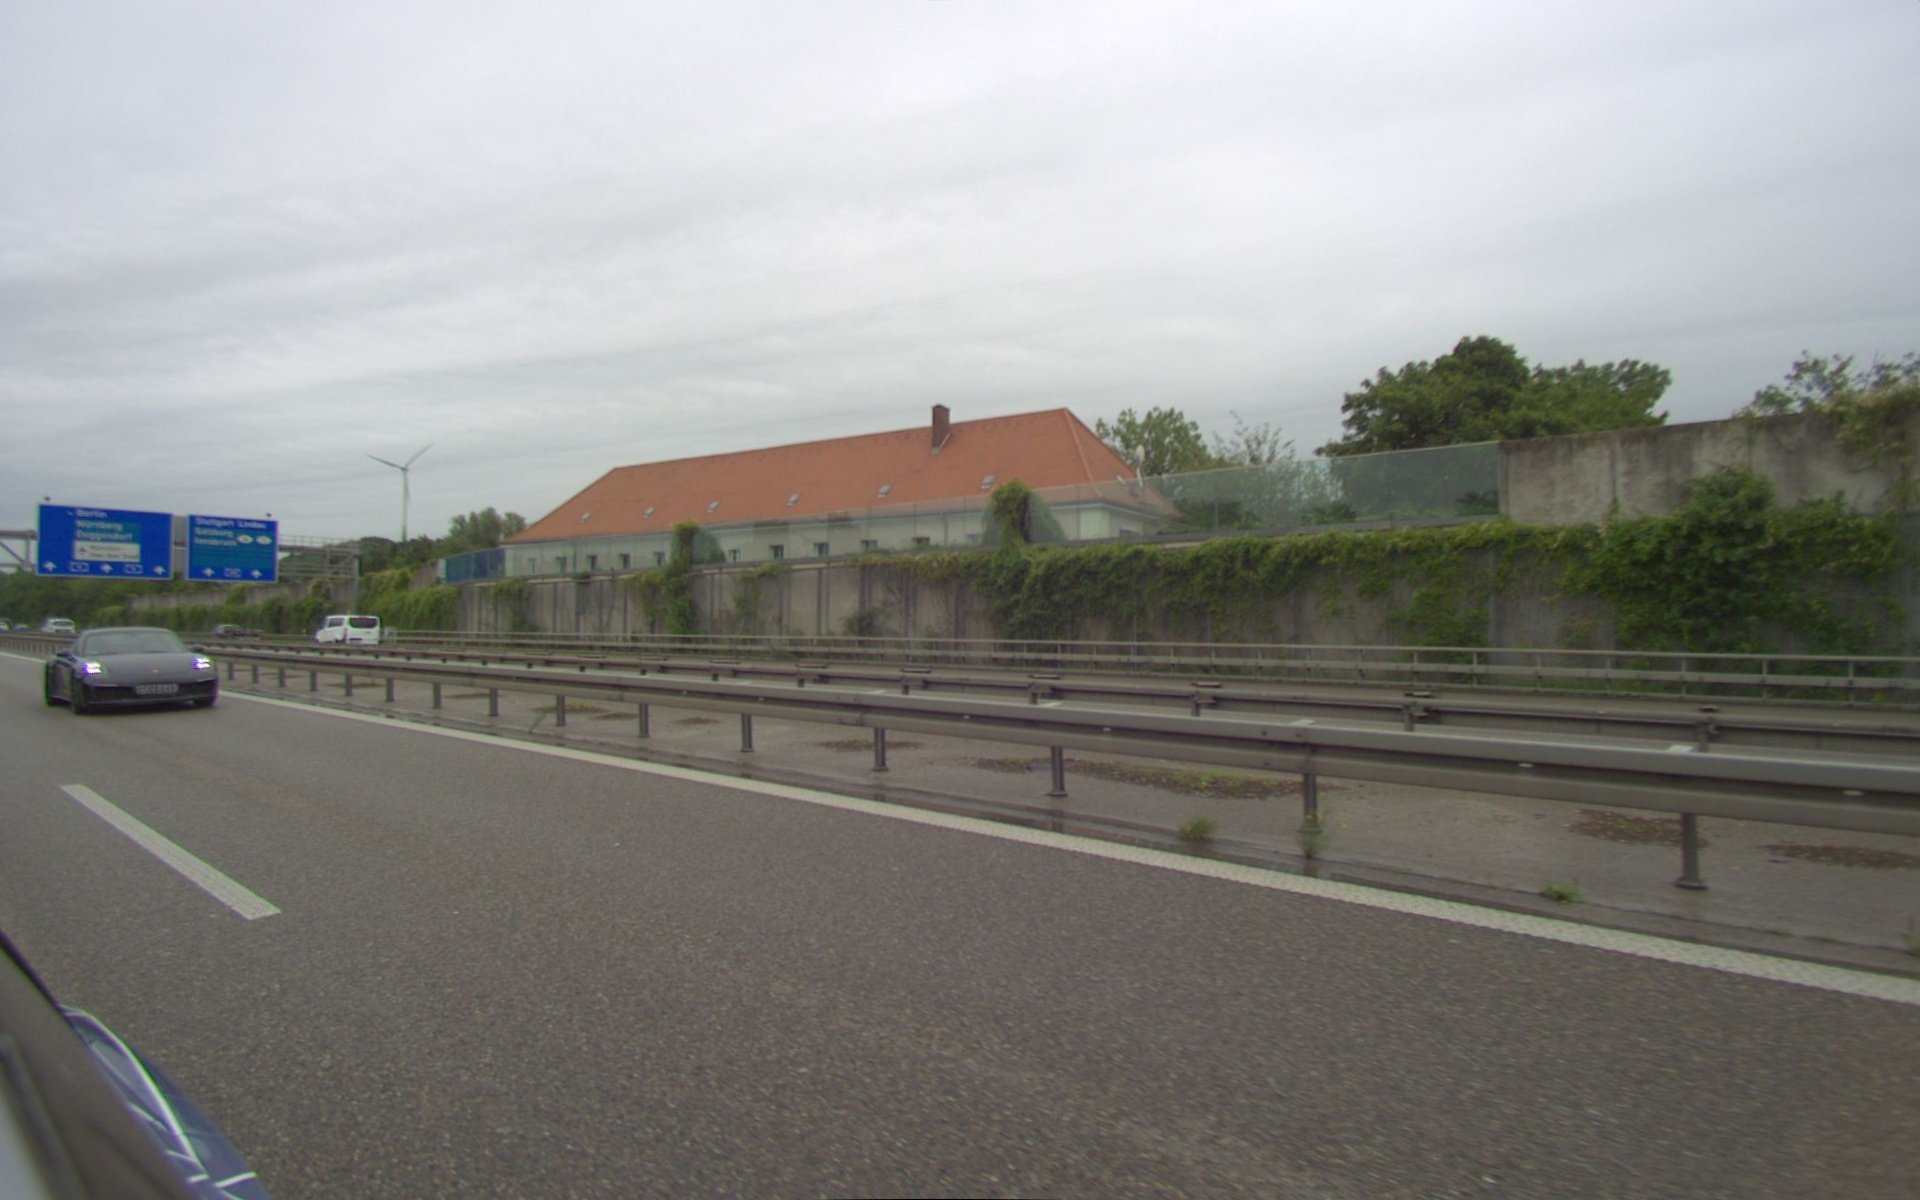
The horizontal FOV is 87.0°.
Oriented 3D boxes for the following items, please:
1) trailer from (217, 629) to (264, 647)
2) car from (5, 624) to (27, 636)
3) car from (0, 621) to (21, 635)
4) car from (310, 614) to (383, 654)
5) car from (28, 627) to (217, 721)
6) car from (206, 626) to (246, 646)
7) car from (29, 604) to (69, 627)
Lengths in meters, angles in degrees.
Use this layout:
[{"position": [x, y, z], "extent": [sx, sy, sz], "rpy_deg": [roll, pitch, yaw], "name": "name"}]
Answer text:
[{"position": [-59.561, 3.124, 83.763], "extent": [5.246, 1.277, 2.107], "rpy_deg": [-1, 0, 42], "name": "trailer"}, {"position": [-160.293, 5.122, 171.899], "extent": [5.752, 1.888, 2.186], "rpy_deg": [-1, 0, 42], "name": "car"}, {"position": [-102.972, 3.033, 109.418], "extent": [4.762, 1.417, 1.585], "rpy_deg": [-1, -5, 41], "name": "car"}, {"position": [-33.084, 1.780, 54.527], "extent": [4.954, 2.029, 1.973], "rpy_deg": [-1, 0, 41], "name": "car"}, {"position": [-14.138, 1.140, 16.971], "extent": [4.921, 1.281, 1.634], "rpy_deg": [-1, 0, 41], "name": "car"}, {"position": [-63.190, 3.063, 87.093], "extent": [4.521, 1.564, 1.934], "rpy_deg": [-1, 0, 43], "name": "car"}, {"position": [-71.416, 1.215, 79.323], "extent": [4.533, 1.764, 1.769], "rpy_deg": [-1, 0, 40], "name": "car"}]
